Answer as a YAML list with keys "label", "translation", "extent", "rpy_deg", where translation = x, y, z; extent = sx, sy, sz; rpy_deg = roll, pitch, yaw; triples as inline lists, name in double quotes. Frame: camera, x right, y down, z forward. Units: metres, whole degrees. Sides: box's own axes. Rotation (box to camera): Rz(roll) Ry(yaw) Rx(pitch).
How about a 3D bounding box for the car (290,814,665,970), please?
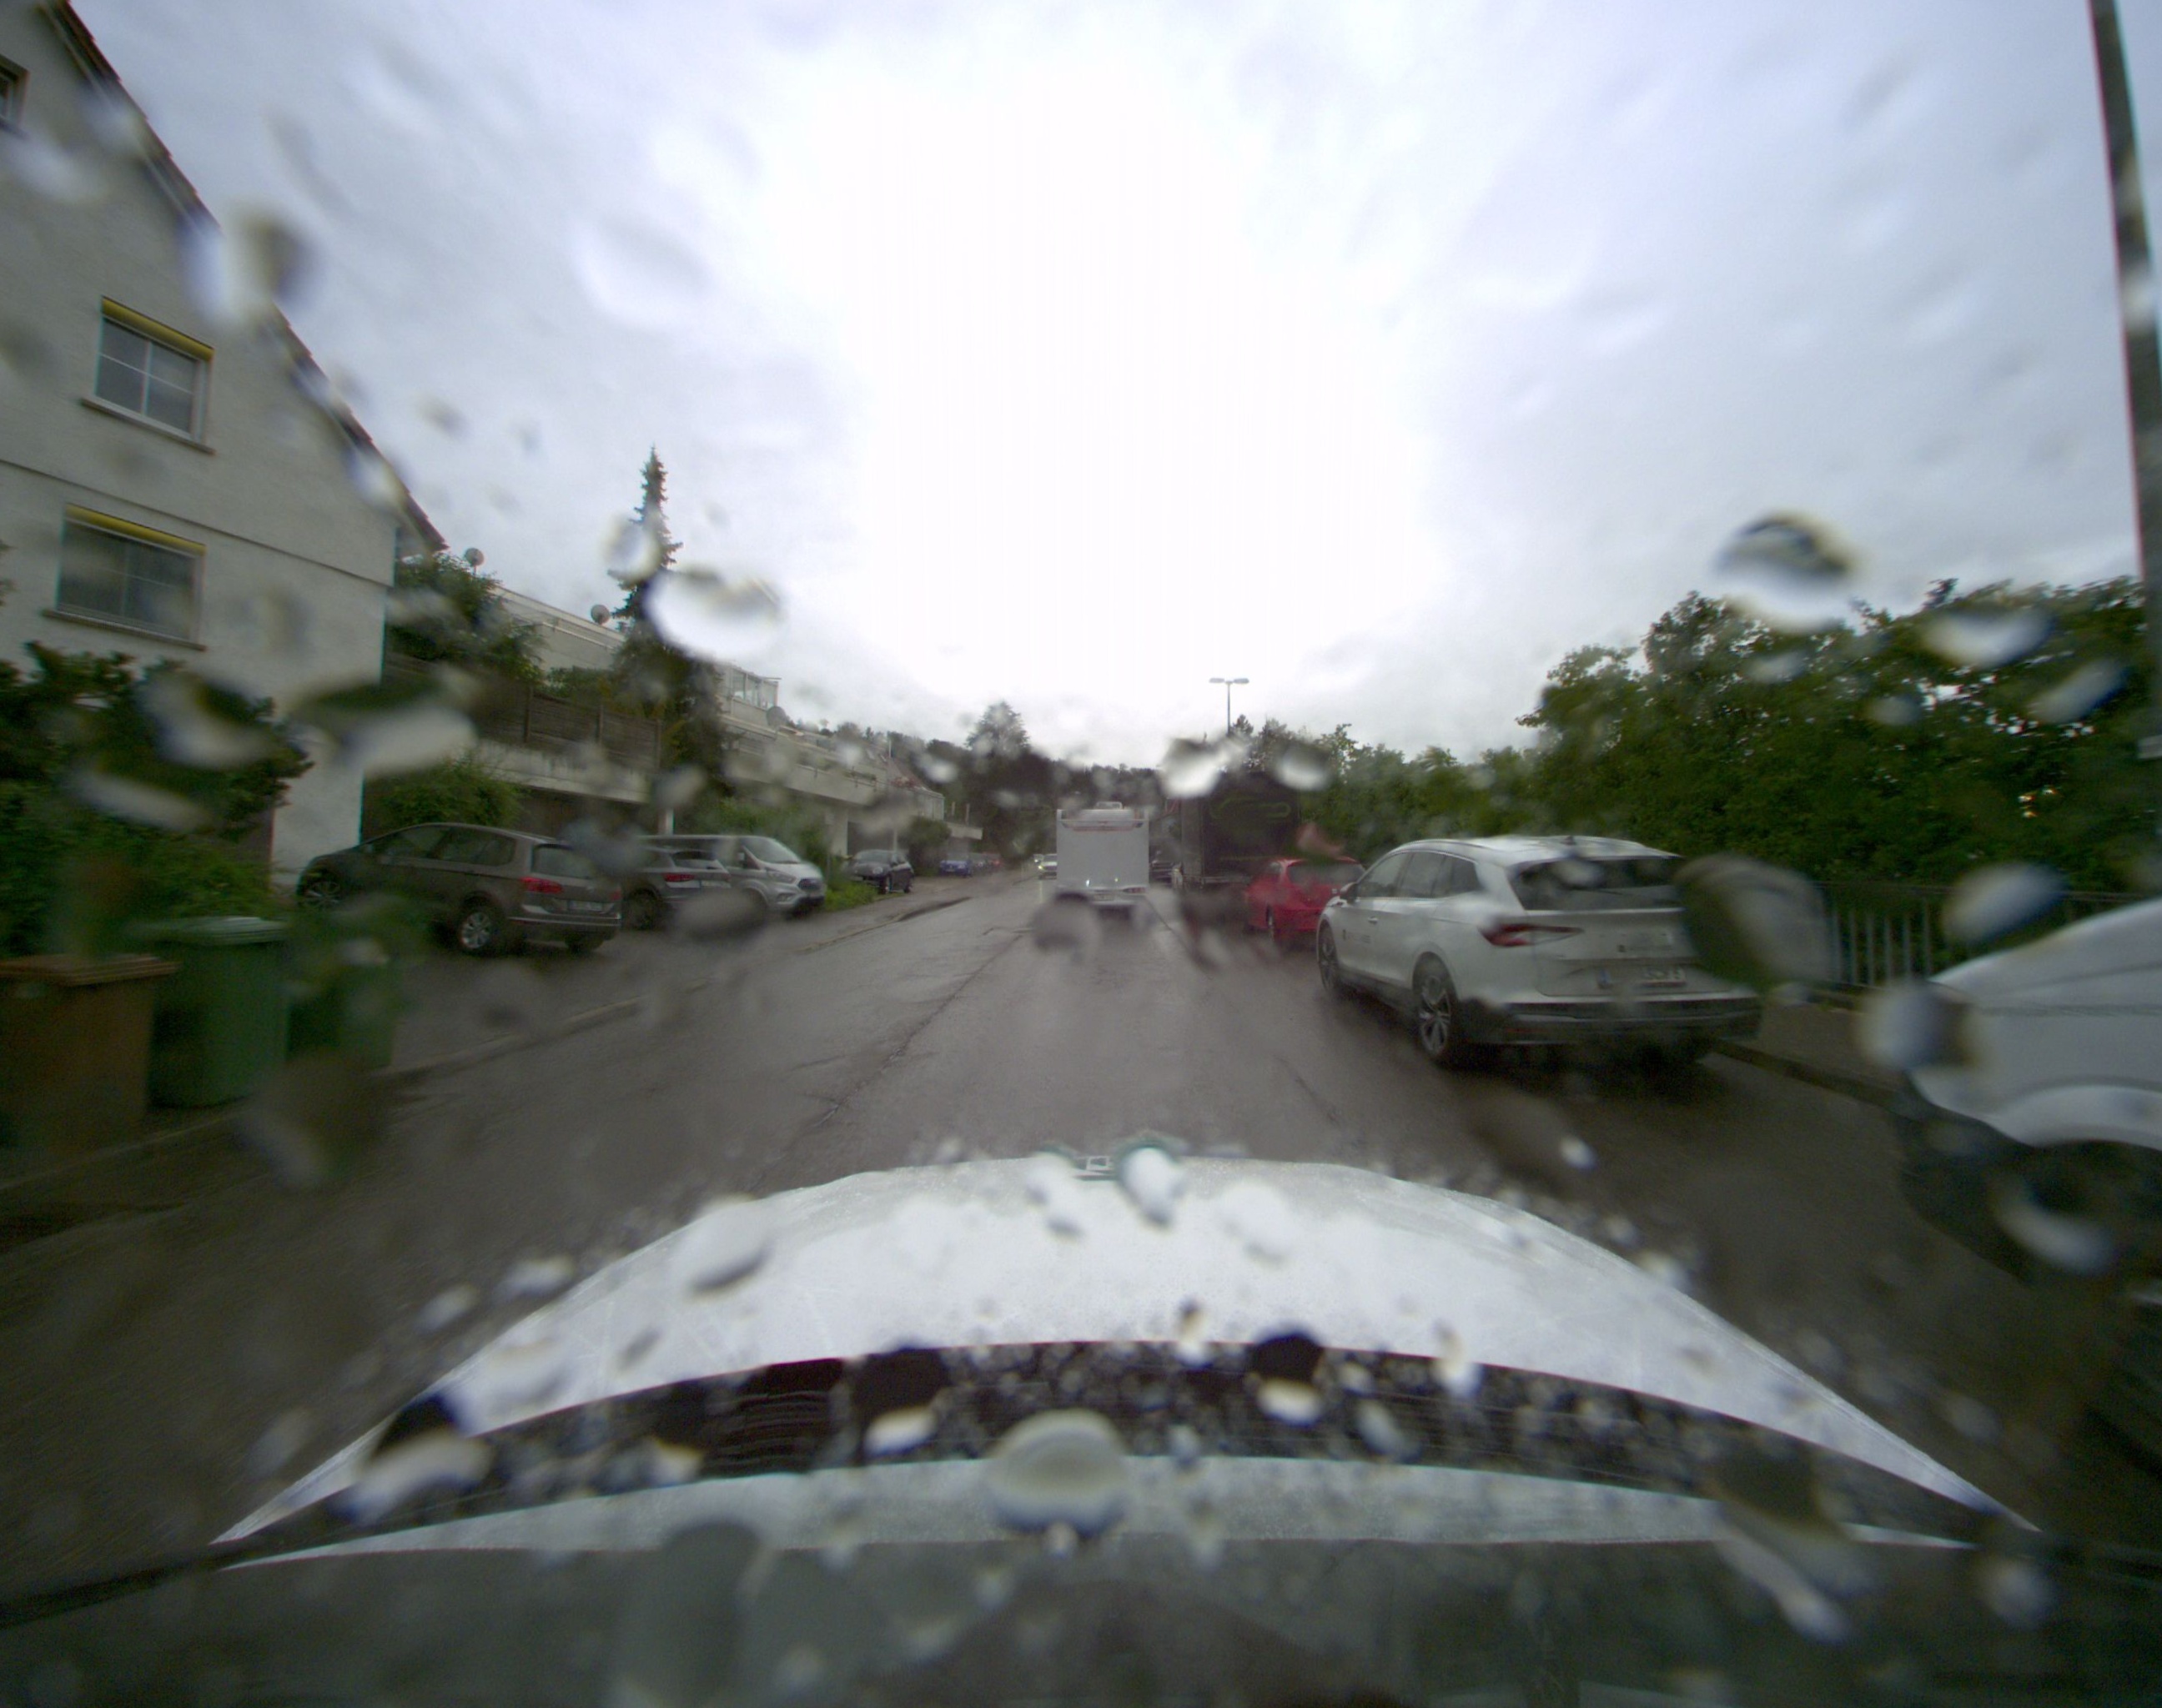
- label: "car"
  translation: [-8.100, 0.440, 11.062]
  extent: [4.025, 1.692, 1.901]
  rpy_deg: [3, 0, 15]

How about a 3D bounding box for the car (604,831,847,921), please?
- label: "car"
  translation: [-8.358, 0.525, 19.251]
  extent: [5.044, 1.944, 2.151]
  rpy_deg: [-1, -1, 18]

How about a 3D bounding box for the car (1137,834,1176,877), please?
- label: "car"
  translation: [4.739, 0.080, 51.626]
  extent: [2.024, 2.505, 5.958]
  rpy_deg: [-1, 0, 2]

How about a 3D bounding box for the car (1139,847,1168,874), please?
- label: "car"
  translation: [5.176, 0.438, 58.931]
  extent: [1.820, 1.842, 5.273]
  rpy_deg: [-2, 0, 3]

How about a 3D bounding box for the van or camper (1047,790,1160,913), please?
- label: "van or camper"
  translation: [0.654, 0.030, 22.050]
  extent: [2.605, 2.853, 6.034]
  rpy_deg: [1, -2, 2]

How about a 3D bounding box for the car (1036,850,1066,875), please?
- label: "car"
  translation: [-1.967, 0.568, 54.673]
  extent: [1.900, 1.607, 4.427]
  rpy_deg: [0, 0, 0]

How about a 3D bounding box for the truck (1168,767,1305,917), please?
- label: "truck"
  translation: [3.952, -0.238, 22.445]
  extent: [2.427, 3.335, 7.968]
  rpy_deg: [-1, -1, 2]

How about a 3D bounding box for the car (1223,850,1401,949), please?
- label: "car"
  translation: [3.873, 0.694, 14.612]
  extent: [1.825, 1.438, 4.987]
  rpy_deg: [-1, -1, 1]

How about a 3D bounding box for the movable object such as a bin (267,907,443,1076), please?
- label: "movable object such as a bin"
  translation: [-5.062, 0.930, 5.723]
  extent: [0.601, 1.064, 0.698]
  rpy_deg: [1, 0, -3]

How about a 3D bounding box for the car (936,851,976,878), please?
- label: "car"
  translation: [-7.284, 0.587, 47.864]
  extent: [1.601, 1.434, 3.960]
  rpy_deg: [3, 0, 1]

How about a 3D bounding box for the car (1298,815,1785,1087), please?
- label: "car"
  translation: [3.395, 0.604, 7.251]
  extent: [1.753, 1.604, 4.667]
  rpy_deg: [-1, -1, 1]

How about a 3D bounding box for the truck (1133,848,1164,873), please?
- label: "truck"
  translation: [5.350, 0.485, 65.291]
  extent: [2.106, 1.852, 6.619]
  rpy_deg: [1, 0, 1]

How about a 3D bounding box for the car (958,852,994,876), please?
- label: "car"
  translation: [-6.848, 0.636, 53.540]
  extent: [1.627, 1.396, 4.241]
  rpy_deg: [3, 0, 2]

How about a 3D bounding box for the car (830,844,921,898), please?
- label: "car"
  translation: [-7.151, 0.552, 28.834]
  extent: [1.681, 1.588, 4.202]
  rpy_deg: [6, 1, 5]

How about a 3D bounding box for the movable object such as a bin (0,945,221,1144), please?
- label: "movable object such as a bin"
  translation: [-5.204, 0.983, 4.350]
  extent: [0.601, 0.928, 0.563]
  rpy_deg: [1, 0, -3]

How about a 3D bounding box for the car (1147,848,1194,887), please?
- label: "car"
  translation: [4.143, 0.596, 38.380]
  extent: [1.928, 1.672, 4.699]
  rpy_deg: [-1, 0, 4]

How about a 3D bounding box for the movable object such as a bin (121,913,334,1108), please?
- label: "movable object such as a bin"
  translation: [-5.175, 0.919, 4.979]
  extent: [0.601, 1.064, 0.638]
  rpy_deg: [1, 0, -3]

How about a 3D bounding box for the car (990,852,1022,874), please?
- label: "car"
  translation: [-5.630, 0.668, 61.709]
  extent: [1.767, 1.437, 4.590]
  rpy_deg: [4, 0, 2]

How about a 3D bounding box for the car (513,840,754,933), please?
- label: "car"
  translation: [-8.864, 0.592, 16.219]
  extent: [4.022, 1.638, 1.902]
  rpy_deg: [1, -1, 18]

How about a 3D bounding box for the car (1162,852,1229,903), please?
- label: "car"
  translation: [4.173, 0.821, 30.503]
  extent: [1.839, 1.683, 5.640]
  rpy_deg: [-1, -1, 2]

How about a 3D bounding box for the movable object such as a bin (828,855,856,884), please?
- label: "movable object such as a bin"
  translation: [-9.650, 0.631, 32.891]
  extent: [0.719, 1.070, 0.770]
  rpy_deg: [4, -1, 19]
